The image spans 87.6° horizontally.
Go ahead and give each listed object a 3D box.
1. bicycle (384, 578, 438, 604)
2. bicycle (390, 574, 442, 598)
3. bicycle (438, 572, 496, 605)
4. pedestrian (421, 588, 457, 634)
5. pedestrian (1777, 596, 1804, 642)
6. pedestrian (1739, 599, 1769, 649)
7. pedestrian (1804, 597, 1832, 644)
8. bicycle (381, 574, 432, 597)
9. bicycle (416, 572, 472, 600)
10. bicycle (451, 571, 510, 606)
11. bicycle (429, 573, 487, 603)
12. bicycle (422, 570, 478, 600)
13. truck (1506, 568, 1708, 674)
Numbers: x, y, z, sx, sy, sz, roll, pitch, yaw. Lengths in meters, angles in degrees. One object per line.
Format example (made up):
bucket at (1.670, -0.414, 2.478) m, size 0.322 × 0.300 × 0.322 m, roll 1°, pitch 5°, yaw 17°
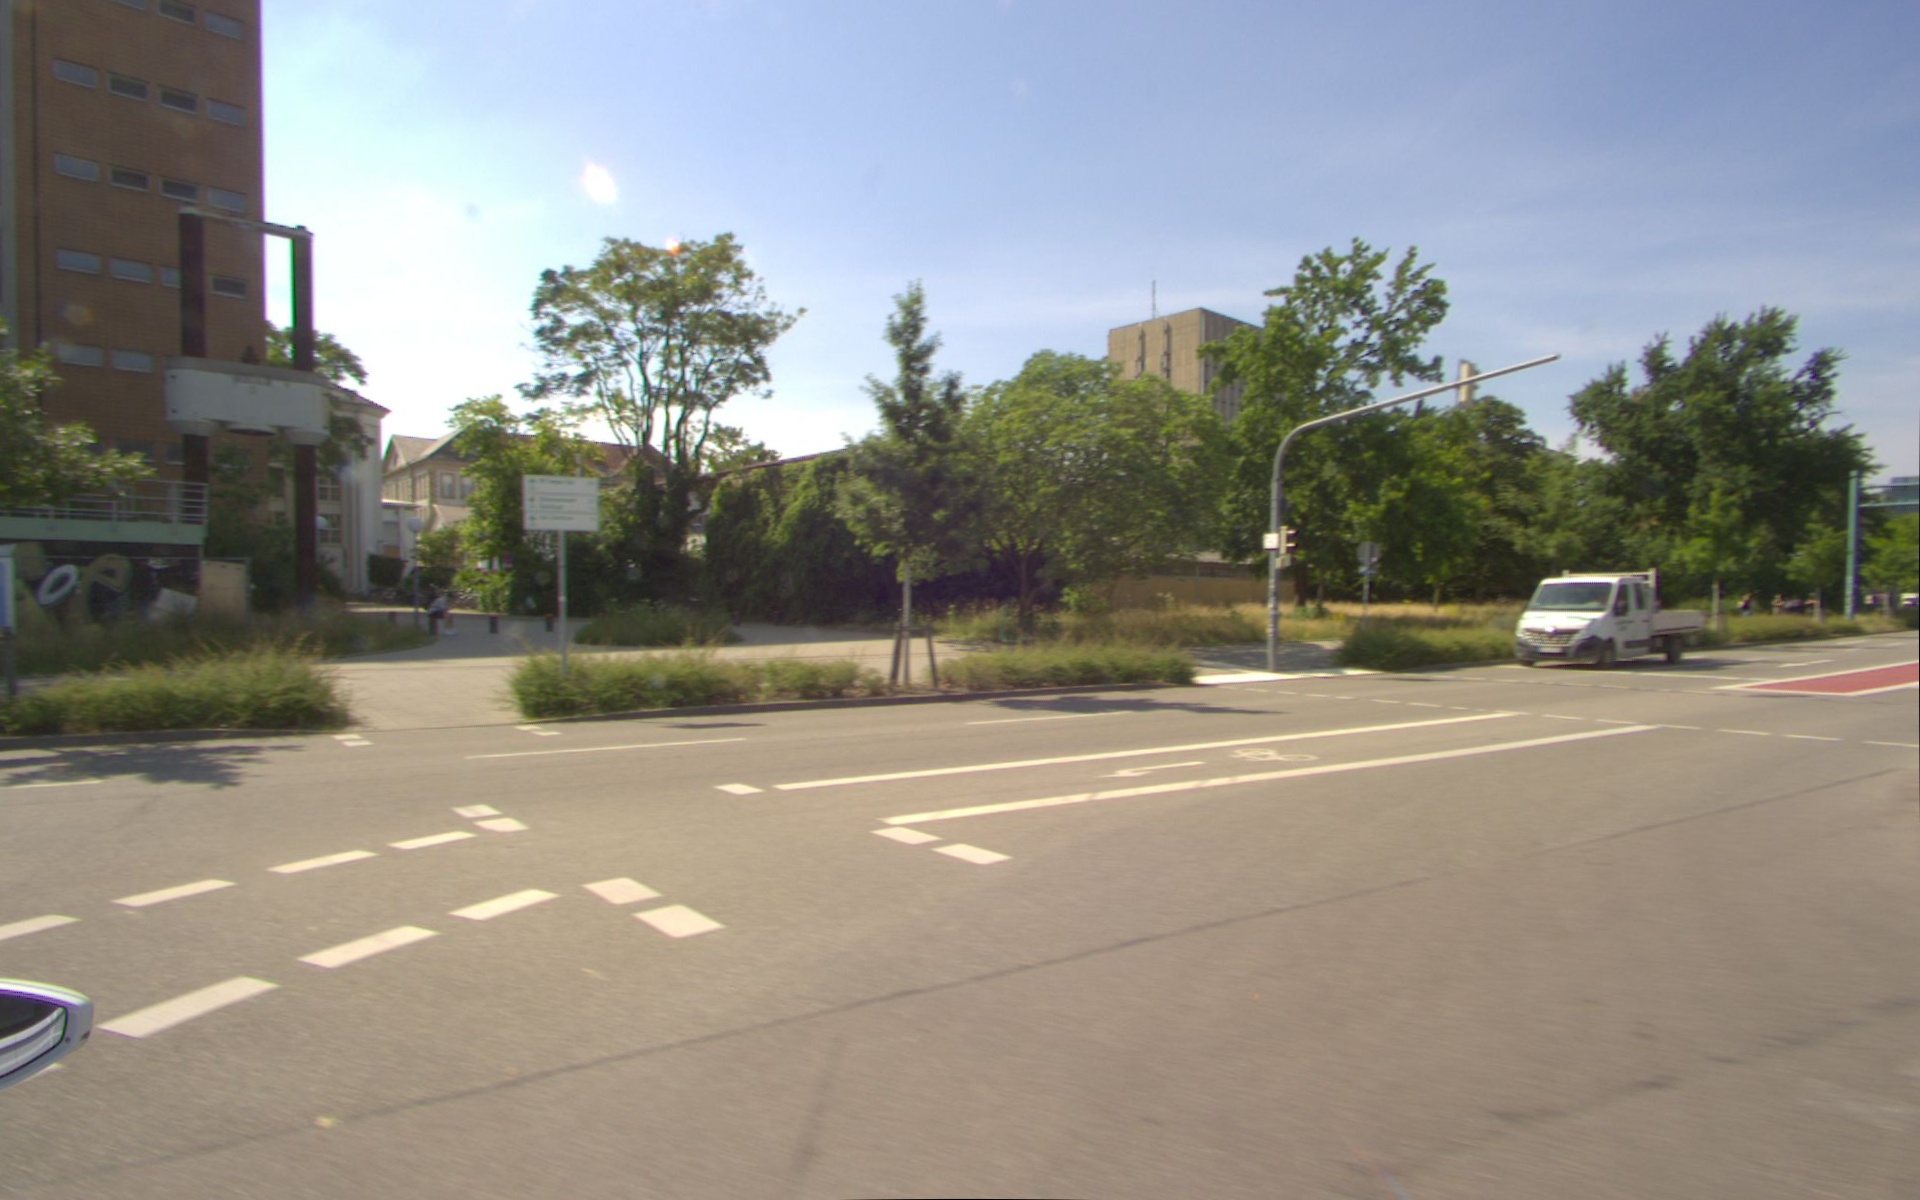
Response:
bicycle at (-33.970, -0.569, 61.987) m, size 2.801 × 1.580 × 0.834 m, roll -1°, pitch 2°, yaw -41°
bicycle at (-34.760, -0.875, 63.977) m, size 2.801 × 1.520 × 0.834 m, roll 0°, pitch 2°, yaw -41°
bicycle at (-27.606, -0.638, 56.061) m, size 2.801 × 1.768 × 0.834 m, roll -1°, pitch 2°, yaw -41°
pedestrian at (-14.672, 0.306, 28.174) m, size 0.785 × 1.229 × 0.752 m, roll 3°, pitch 0°, yaw -33°
pedestrian at (47.334, 1.106, 57.083) m, size 1.112 × 2.566 × 0.946 m, roll 2°, pitch 0°, yaw -40°
pedestrian at (42.183, 1.267, 53.203) m, size 1.112 × 2.566 × 0.946 m, roll 2°, pitch 0°, yaw -40°
pedestrian at (48.337, 1.138, 56.400) m, size 1.112 × 2.566 × 0.946 m, roll 2°, pitch 0°, yaw -40°
bicycle at (-36.010, -0.932, 65.205) m, size 2.801 × 1.501 × 0.834 m, roll 0°, pitch 2°, yaw -41°
bicycle at (-30.144, -0.819, 58.485) m, size 2.801 × 1.608 × 0.834 m, roll -1°, pitch 2°, yaw -41°
bicycle at (-26.021, -0.600, 54.364) m, size 2.801 × 1.861 × 0.834 m, roll -1°, pitch 2°, yaw -41°
bicycle at (-28.464, -0.677, 56.837) m, size 2.801 × 1.672 × 0.834 m, roll -1°, pitch 2°, yaw -41°
bicycle at (-29.391, -0.847, 57.735) m, size 2.801 × 1.682 × 0.834 m, roll -1°, pitch 3°, yaw -41°
truck at (16.692, 0.473, 25.619) m, size 6.968 × 2.387 × 2.393 m, roll 0°, pitch 0°, yaw -40°
